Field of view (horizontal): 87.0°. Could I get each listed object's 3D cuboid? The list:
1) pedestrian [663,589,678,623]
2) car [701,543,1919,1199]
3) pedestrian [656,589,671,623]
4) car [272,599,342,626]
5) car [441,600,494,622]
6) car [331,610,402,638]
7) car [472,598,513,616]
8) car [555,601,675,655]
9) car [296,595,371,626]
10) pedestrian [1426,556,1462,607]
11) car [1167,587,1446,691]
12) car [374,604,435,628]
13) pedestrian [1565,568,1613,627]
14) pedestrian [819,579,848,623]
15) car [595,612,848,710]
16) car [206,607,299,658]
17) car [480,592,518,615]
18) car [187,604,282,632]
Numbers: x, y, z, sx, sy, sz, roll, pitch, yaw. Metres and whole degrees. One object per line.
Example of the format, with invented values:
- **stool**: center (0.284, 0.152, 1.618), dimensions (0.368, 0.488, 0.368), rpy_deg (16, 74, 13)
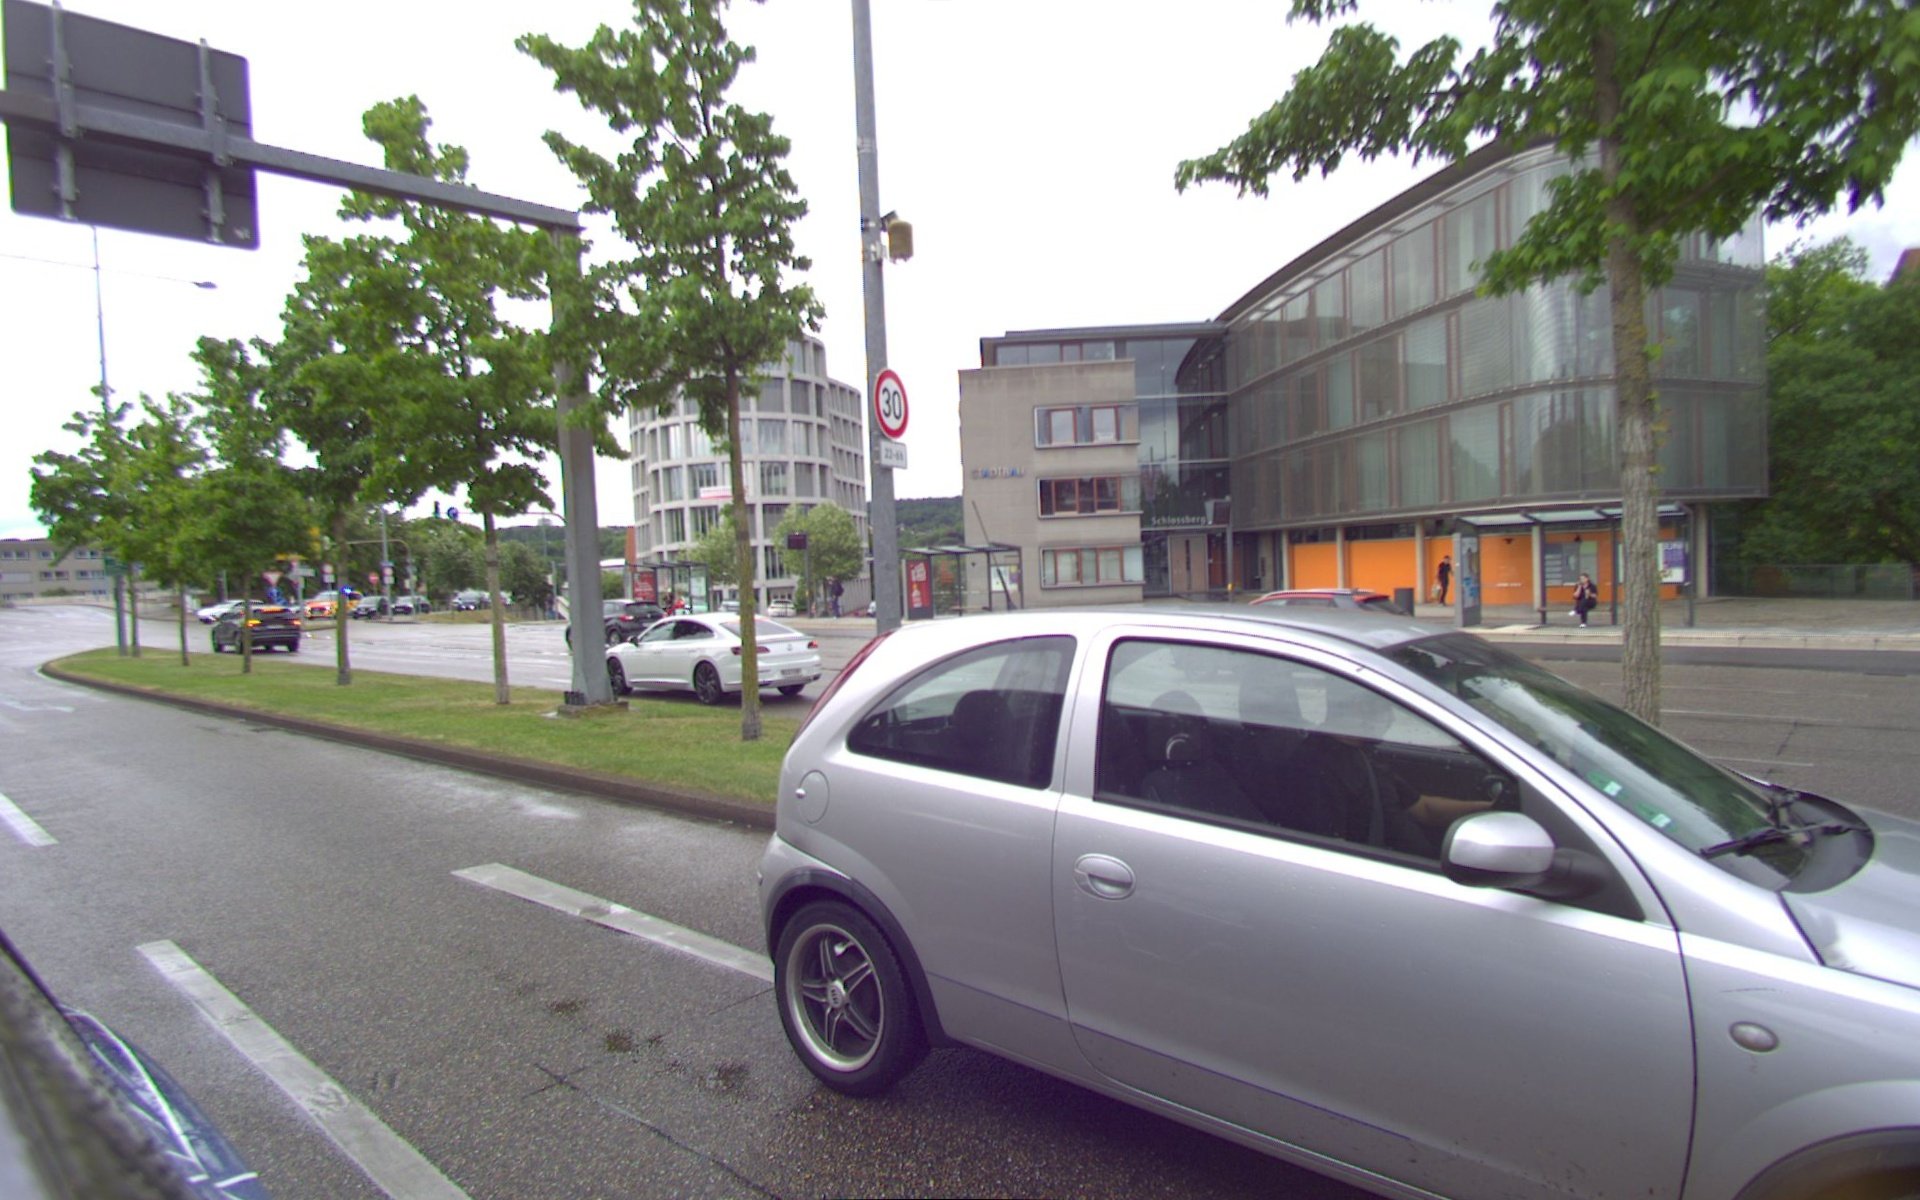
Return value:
- **pedestrian**: center (-14.567, 0.299, 50.898), dimensions (0.535, 1.647, 0.514), rpy_deg (-1, 0, 41)
- **car**: center (1.129, 0.653, 2.625), dimensions (3.733, 1.469, 1.607), rpy_deg (-1, 0, 40)
- **pedestrian**: center (-14.738, 0.304, 50.330), dimensions (0.501, 1.647, 0.497), rpy_deg (-1, 0, 41)
- **car**: center (-47.480, 0.882, 73.697), dimensions (1.982, 1.807, 3.979), rpy_deg (-1, 0, 16)
- **car**: center (-40.998, 0.911, 84.394), dimensions (2.164, 1.725, 4.920), rpy_deg (-1, 0, -3)
- **car**: center (-41.093, 1.614, 70.242), dimensions (2.164, 1.725, 4.919), rpy_deg (-1, 0, -3)
- **car**: center (-47.153, 0.707, 102.105), dimensions (2.163, 1.725, 4.922), rpy_deg (-1, 0, -5)
- **car**: center (-10.738, 0.841, 31.398), dimensions (4.078, 1.542, 1.752), rpy_deg (-1, 0, 42)
- **car**: center (-43.891, 0.696, 71.029), dimensions (2.276, 2.029, 5.038), rpy_deg (-1, 0, -3)
- **pedestrian**: center (16.086, -0.612, 33.672), dimensions (0.697, 1.666, 0.852), rpy_deg (-1, 0, -6)
- **car**: center (5.588, 0.581, 16.646), dimensions (4.028, 1.487, 1.612), rpy_deg (-1, 0, 45)
- **car**: center (-42.656, 1.197, 77.907), dimensions (2.164, 1.725, 4.919), rpy_deg (-1, 0, -3)
- **pedestrian**: center (14.599, -0.046, 23.476), dimensions (0.790, 1.334, 0.793), rpy_deg (-1, 0, 42)
- **pedestrian**: center (-5.181, 0.050, 41.479), dimensions (0.964, 1.773, 0.783), rpy_deg (-1, 0, 12)
- **car**: center (-4.161, 0.934, 17.137), dimensions (4.858, 1.392, 1.706), rpy_deg (-1, 0, 42)
- **car**: center (-25.296, 1.138, 36.116), dimensions (4.600, 1.652, 1.802), rpy_deg (-1, 1, 43)
- **car**: center (-42.925, 0.325, 94.239), dimensions (1.969, 2.029, 4.005), rpy_deg (-2, 0, -6)
- **car**: center (-48.782, 1.193, 68.178), dimensions (2.179, 1.725, 4.885), rpy_deg (-1, 0, 19)
